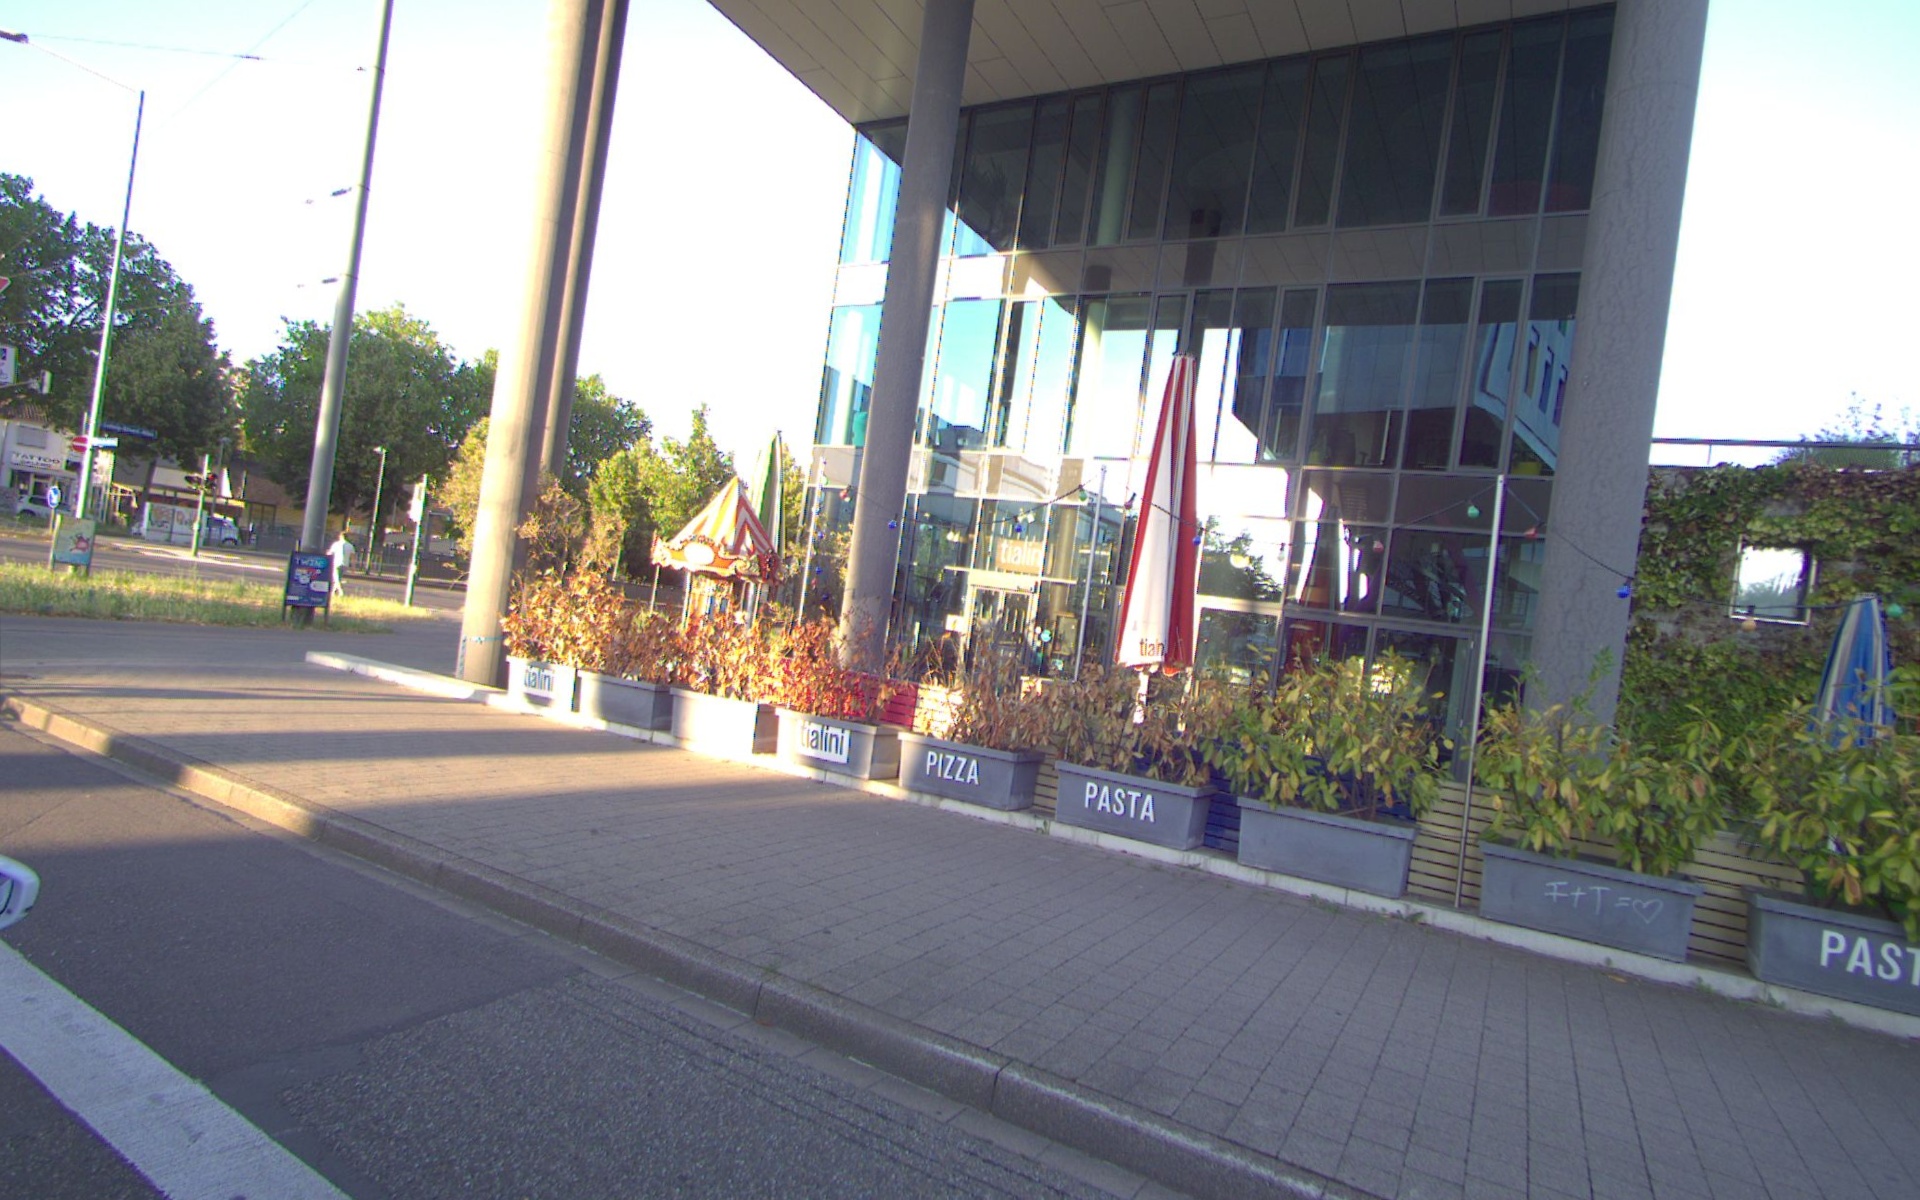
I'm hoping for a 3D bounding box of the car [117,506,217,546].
[{"bbox_3d":[-47.667,-4.446,60.525,1.968,1.595,4.236,7,-2,34],"label":"car"}]

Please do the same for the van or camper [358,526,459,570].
[{"bbox_3d":[-43.974,-4.117,80.431,2.229,2.438,6.569,7,-2,36],"label":"van or camper"}]

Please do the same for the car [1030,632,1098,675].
[{"bbox_3d":[5.836,3.012,55.871,1.826,1.849,4.390,10,0,31],"label":"car"}]

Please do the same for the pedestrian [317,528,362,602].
[{"bbox_3d":[-16.262,-0.929,26.358,0.757,1.812,0.795,8,-1,-34],"label":"pedestrian"}]

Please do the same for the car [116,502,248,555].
[{"bbox_3d":[-37.374,-3.402,48.432,1.829,1.748,4.547,7,-2,27],"label":"car"}]

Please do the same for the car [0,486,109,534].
[{"bbox_3d":[-50.537,-4.982,56.073,1.968,1.868,4.236,7,-2,34],"label":"car"}]
